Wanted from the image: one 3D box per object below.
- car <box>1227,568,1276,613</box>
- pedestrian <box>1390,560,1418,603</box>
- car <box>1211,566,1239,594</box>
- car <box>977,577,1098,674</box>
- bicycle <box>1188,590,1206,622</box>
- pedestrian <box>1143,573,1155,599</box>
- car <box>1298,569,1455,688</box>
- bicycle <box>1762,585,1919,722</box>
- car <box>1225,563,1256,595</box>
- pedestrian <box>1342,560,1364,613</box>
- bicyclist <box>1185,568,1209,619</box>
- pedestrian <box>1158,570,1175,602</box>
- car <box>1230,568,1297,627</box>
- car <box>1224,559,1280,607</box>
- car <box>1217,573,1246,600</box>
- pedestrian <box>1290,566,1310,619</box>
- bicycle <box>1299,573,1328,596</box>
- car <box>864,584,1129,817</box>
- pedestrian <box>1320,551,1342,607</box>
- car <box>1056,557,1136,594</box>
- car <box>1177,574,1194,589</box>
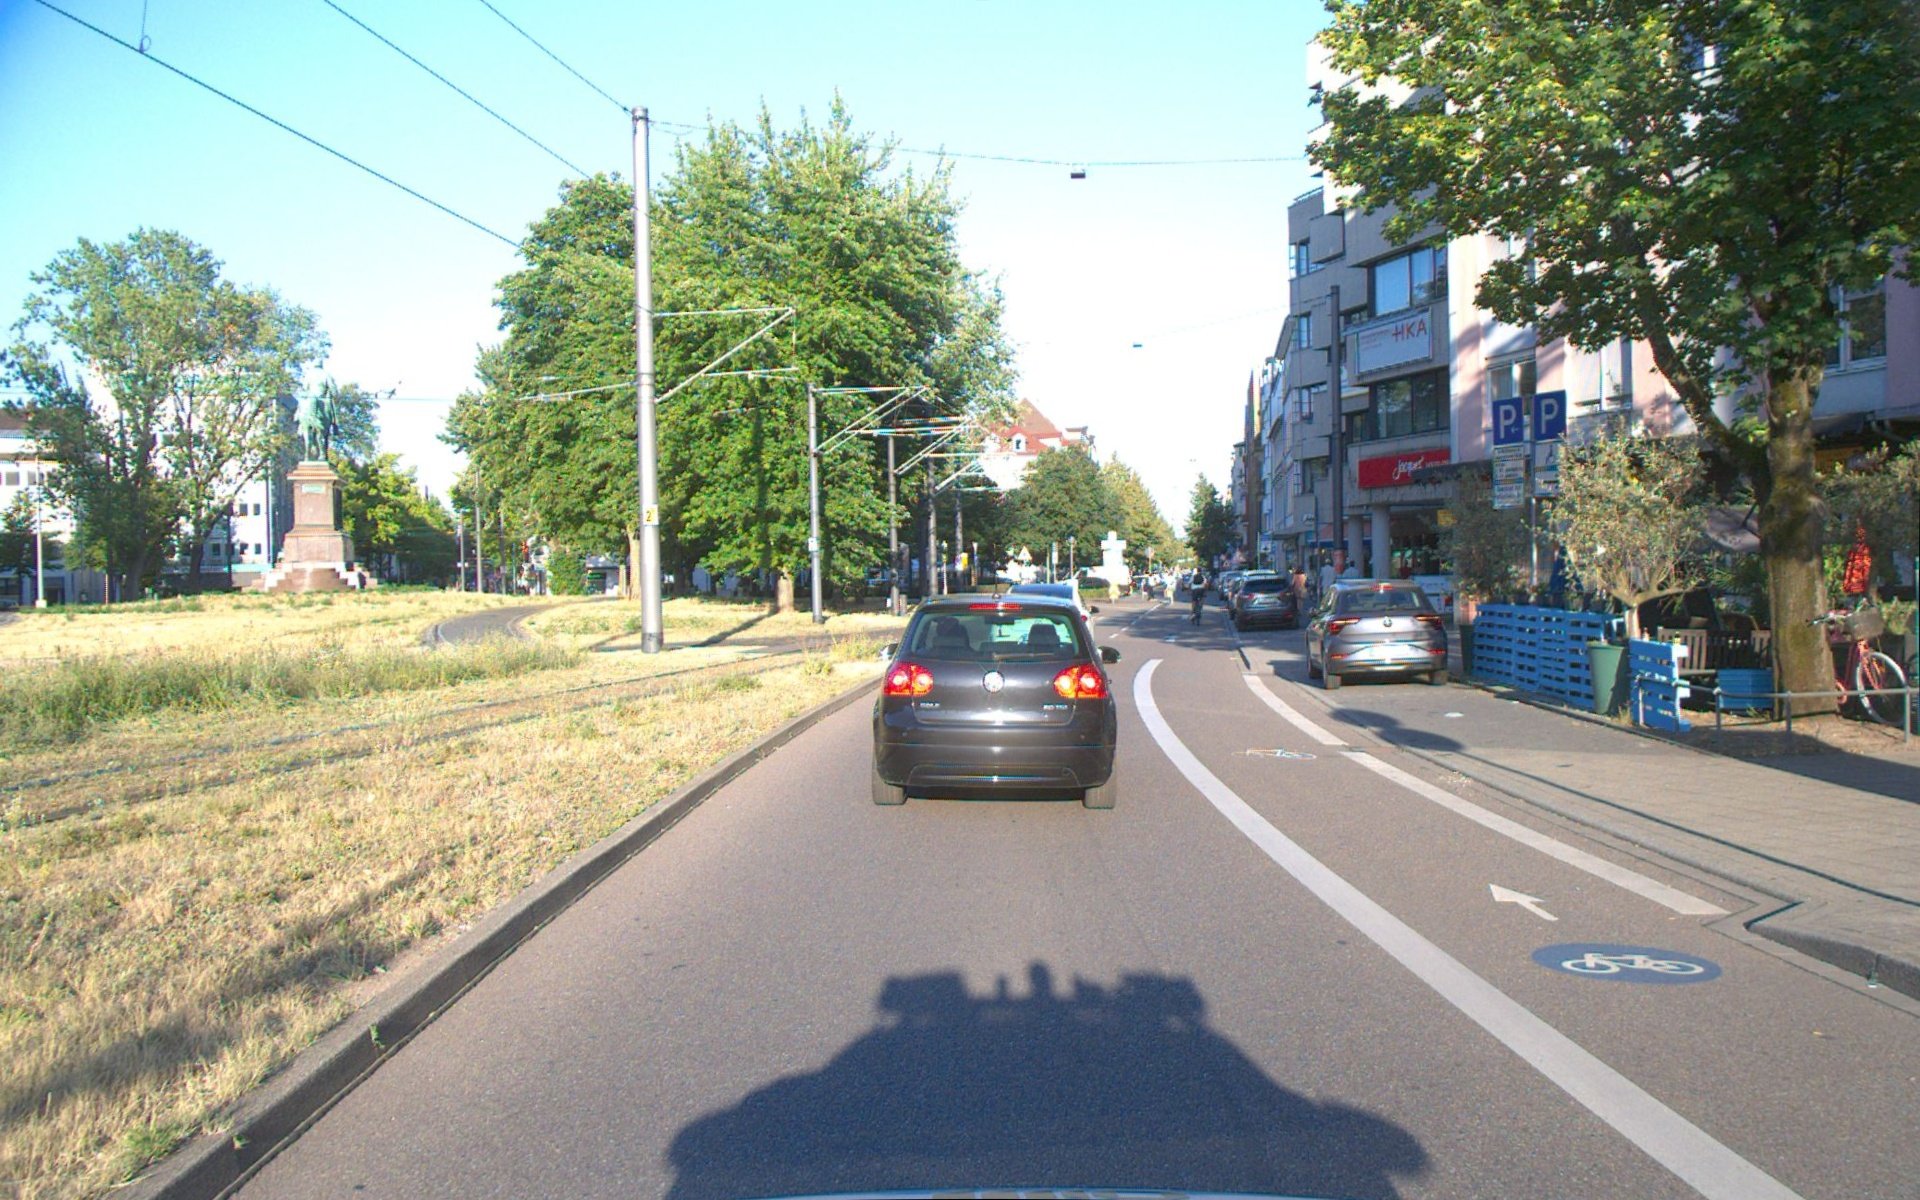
[{"bbox_3d":[10.615,-0.373,60.223,1.626,1.466,3.858,-3,0,10],"label":"car"},{"bbox_3d":[17.935,-0.756,66.776,0.968,1.702,0.642,-2,0,9],"label":"pedestrian"},{"bbox_3d":[19.152,-1.447,119.399,1.884,1.873,4.021,-2,0,9],"label":"car"},{"bbox_3d":[1.424,0.390,28.852,1.825,1.466,4.200,-1,1,6],"label":"car"},{"bbox_3d":[7.778,0.182,54.319,0.566,1.004,1.937,0,1,8],"label":"bicycle"},{"bbox_3d":[11.385,-0.832,99.720,0.720,1.582,0.632,-1,0,5],"label":"pedestrian"},{"bbox_3d":[5.992,0.353,24.174,1.691,1.497,3.902,-3,0,7],"label":"car"},{"bbox_3d":[8.390,0.470,15.665,0.413,1.178,1.749,-1,2,-13],"label":"bicycle"},{"bbox_3d":[17.204,-1.303,101.648,1.698,1.831,3.920,-2,0,8],"label":"car"},{"bbox_3d":[13.507,-0.464,56.851,0.609,1.770,0.662,-4,0,9],"label":"pedestrian"},{"bbox_3d":[7.762,-0.215,54.207,0.760,1.646,1.026,0,0,8],"label":"bicyclist"},{"bbox_3d":[11.223,-0.769,90.080,0.841,1.736,0.941,0,0,2],"label":"pedestrian"},{"bbox_3d":[9.050,-0.107,49.556,1.744,1.583,4.238,-3,0,9],"label":"car"},{"bbox_3d":[11.603,-0.691,66.007,1.828,1.743,4.509,-3,0,6],"label":"car"},{"bbox_3d":[17.537,-0.882,106.914,1.698,1.645,3.920,-2,0,8],"label":"car"},{"bbox_3d":[11.770,-0.248,57.281,0.566,1.790,0.662,-4,0,9],"label":"pedestrian"},{"bbox_3d":[19.248,-0.829,90.045,0.509,1.138,1.505,-4,0,-35],"label":"bicycle"},{"bbox_3d":[0.392,0.634,12.788,1.711,1.486,4.106,-1,1,4],"label":"car"},{"bbox_3d":[12.772,-0.730,56.948,0.609,1.890,0.662,-4,0,9],"label":"pedestrian"},{"bbox_3d":[9.873,-1.773,120.457,5.426,2.640,2.144,-1,0,-18],"label":"car"},{"bbox_3d":[25.124,-2.057,184.173,1.866,1.579,4.004,-1,1,8],"label":"car"}]
